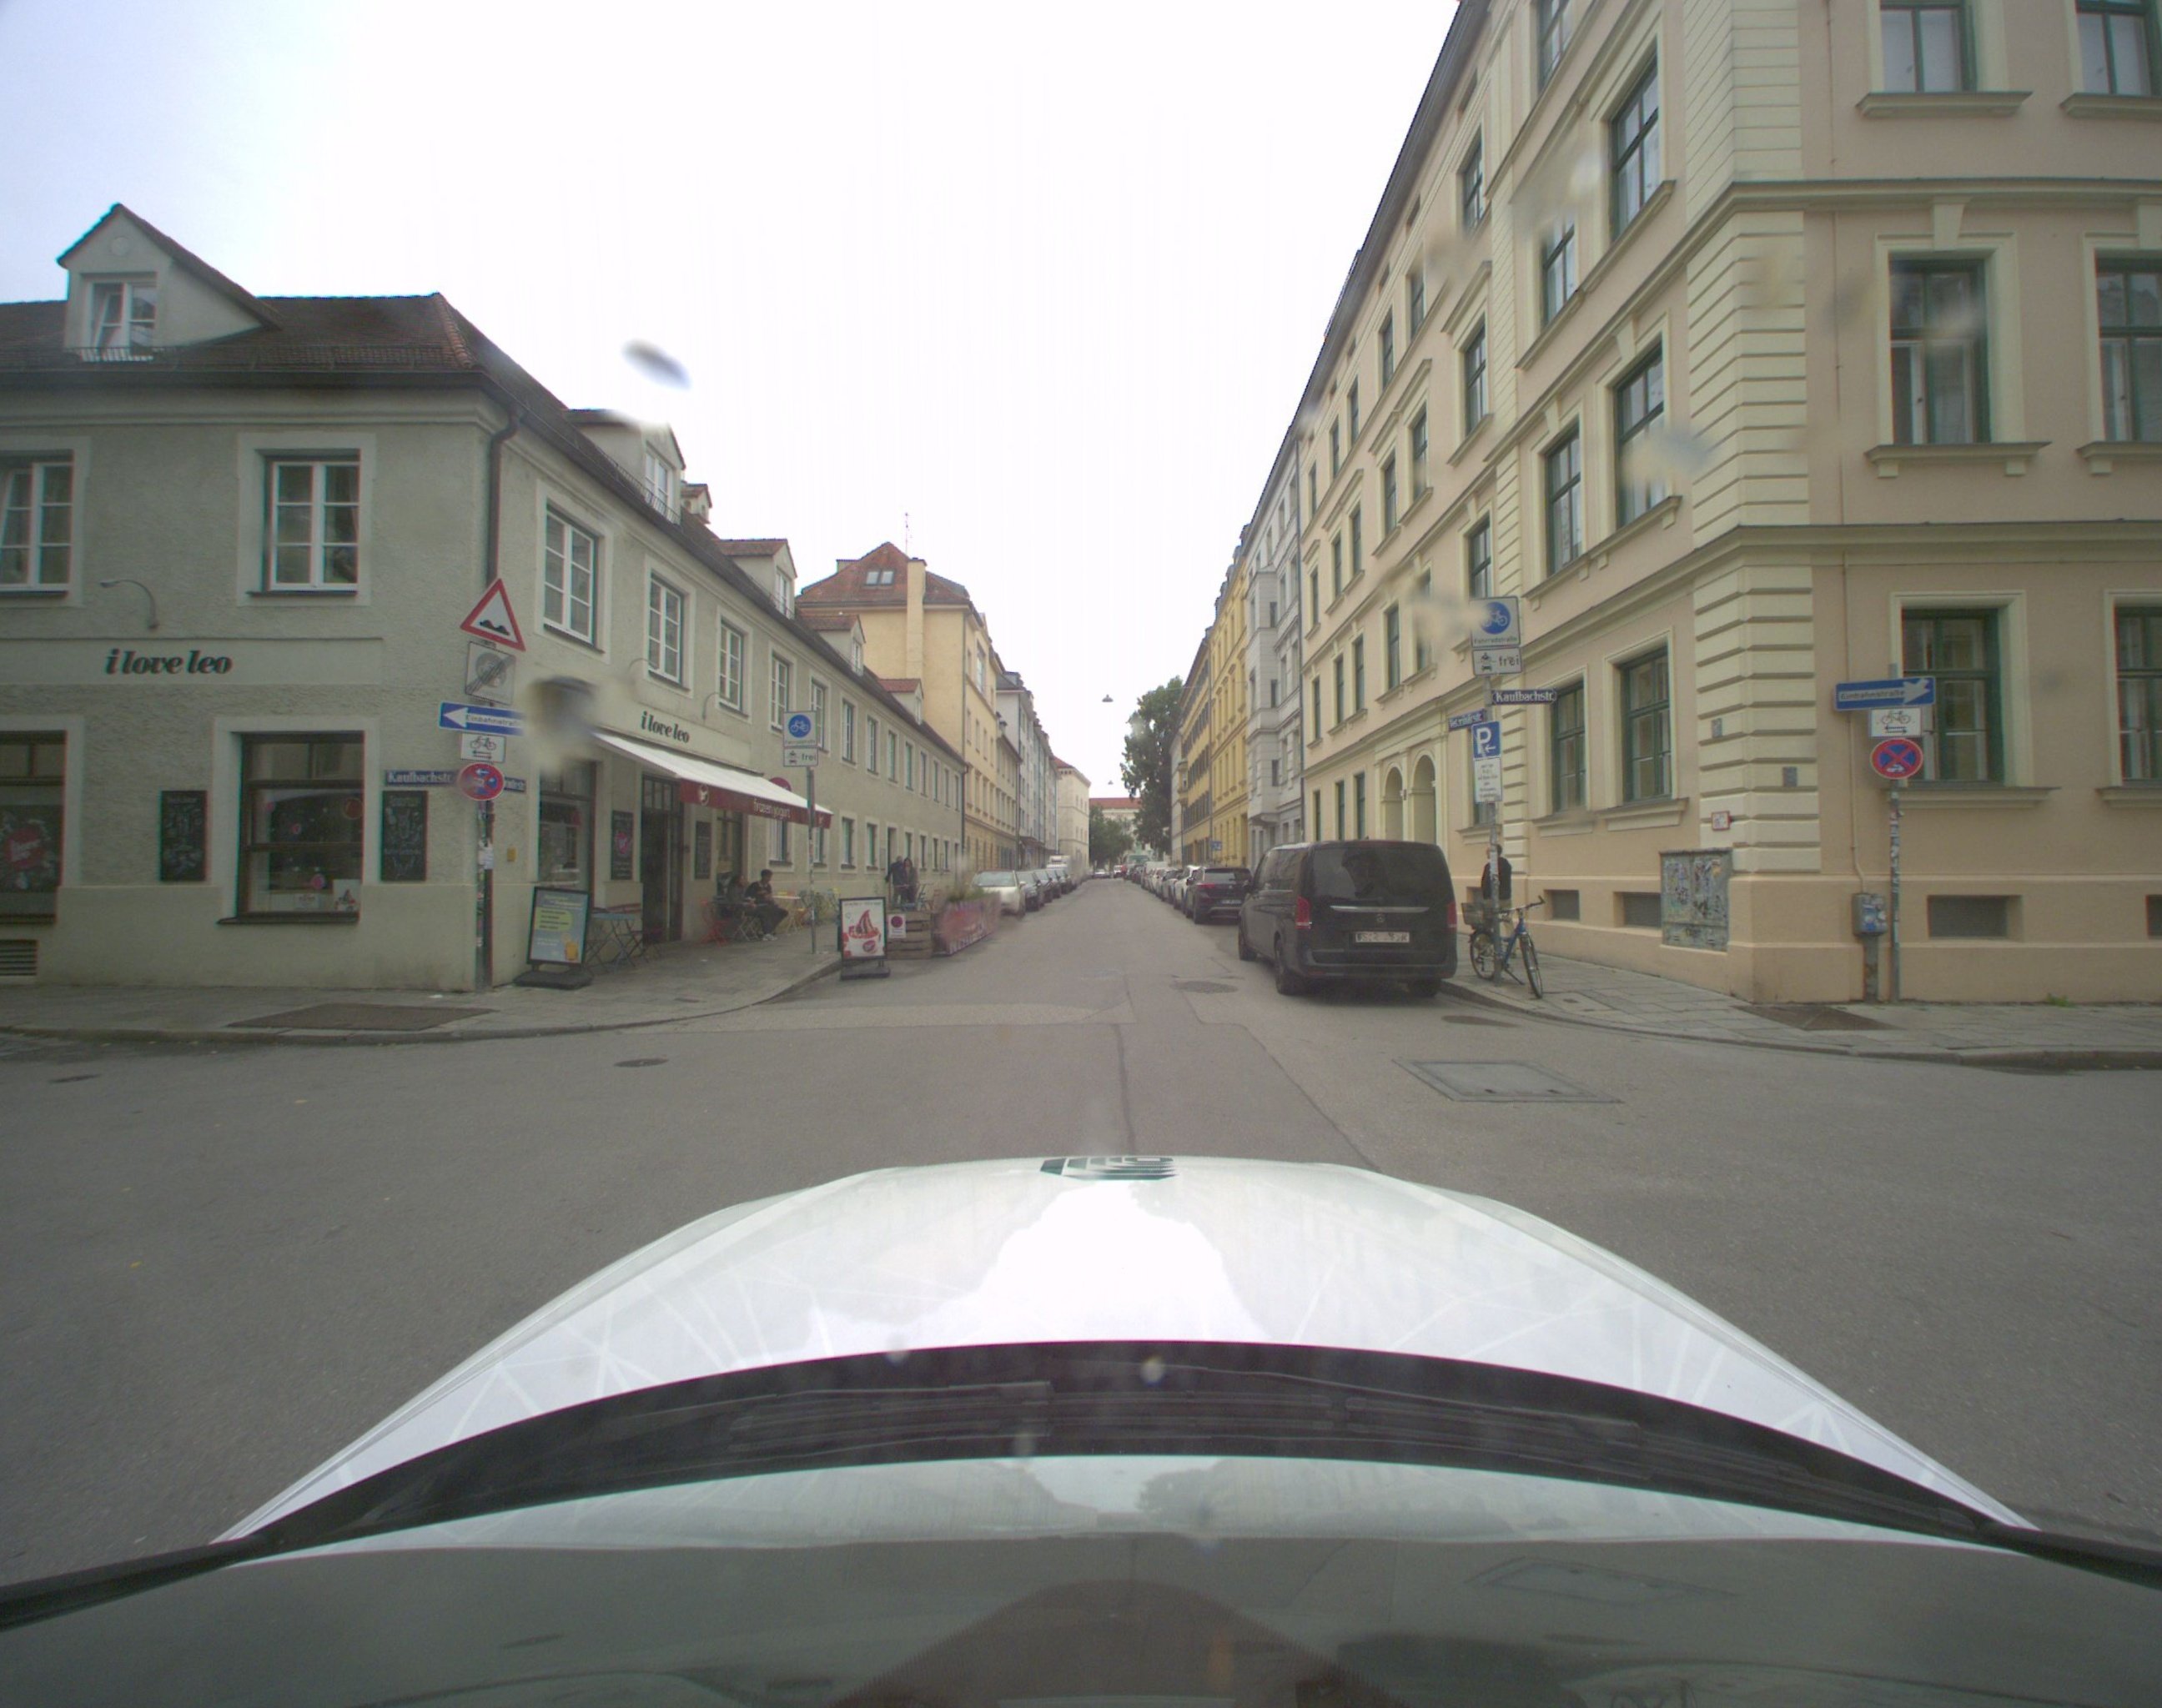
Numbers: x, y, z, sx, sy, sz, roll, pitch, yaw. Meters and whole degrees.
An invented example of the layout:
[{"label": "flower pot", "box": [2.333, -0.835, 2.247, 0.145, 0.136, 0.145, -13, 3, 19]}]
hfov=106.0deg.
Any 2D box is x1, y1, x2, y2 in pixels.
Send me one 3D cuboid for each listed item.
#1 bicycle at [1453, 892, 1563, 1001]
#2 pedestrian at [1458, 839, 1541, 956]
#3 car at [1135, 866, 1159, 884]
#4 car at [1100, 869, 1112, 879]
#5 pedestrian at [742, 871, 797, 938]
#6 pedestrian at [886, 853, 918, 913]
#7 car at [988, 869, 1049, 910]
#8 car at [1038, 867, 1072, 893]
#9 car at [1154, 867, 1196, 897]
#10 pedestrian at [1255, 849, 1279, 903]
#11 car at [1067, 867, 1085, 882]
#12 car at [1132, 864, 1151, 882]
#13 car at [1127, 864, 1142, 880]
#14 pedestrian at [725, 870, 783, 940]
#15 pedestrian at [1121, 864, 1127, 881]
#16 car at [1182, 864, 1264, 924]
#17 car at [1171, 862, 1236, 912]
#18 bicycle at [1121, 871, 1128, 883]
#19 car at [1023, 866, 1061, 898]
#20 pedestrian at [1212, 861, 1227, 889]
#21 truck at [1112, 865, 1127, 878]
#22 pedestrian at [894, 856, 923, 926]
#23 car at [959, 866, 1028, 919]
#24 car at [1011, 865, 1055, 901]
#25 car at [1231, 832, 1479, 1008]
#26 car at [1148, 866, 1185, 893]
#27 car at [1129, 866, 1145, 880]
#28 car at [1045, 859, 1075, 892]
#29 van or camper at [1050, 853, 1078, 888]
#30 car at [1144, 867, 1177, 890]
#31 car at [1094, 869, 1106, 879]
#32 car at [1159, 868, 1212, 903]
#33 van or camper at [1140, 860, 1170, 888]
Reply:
[{"label": "bicycle", "box": [5.061, 1.051, 9.768, 0.463, 1.052, 1.730, -2, 1, 3]}, {"label": "pedestrian", "box": [6.421, 0.659, 12.547, 0.716, 1.717, 1.004, 0, -2, 1]}, {"label": "car", "box": [5.731, 1.850, 71.123, 1.805, 1.465, 4.248, 1, -1, 2]}, {"label": "car", "box": [4.261, 3.452, 138.789, 1.698, 1.581, 3.867, -1, -1, 5]}, {"label": "pedestrian", "box": [-6.156, 0.994, 16.130, 0.800, 1.290, 0.694, 0, -2, 2]}, {"label": "pedestrian", "box": [-5.730, 0.936, 26.104, 0.820, 1.898, 0.827, 0, -3, 1]}, {"label": "car", "box": [-2.234, 1.264, 30.048, 1.792, 1.339, 4.686, 0, 0, 1]}, {"label": "car", "box": [-1.449, 1.448, 46.165, 1.748, 1.409, 4.103, 0, -1, 1]}, {"label": "car", "box": [4.587, 1.356, 40.167, 1.701, 1.409, 4.816, 0, -1, 2]}, {"label": "pedestrian", "box": [7.005, 0.829, 30.718, 0.667, 1.981, 0.709, -3, -3, 2]}, {"label": "car", "box": [-0.497, 2.151, 85.110, 1.811, 1.444, 3.819, -1, -1, 1]}, {"label": "car", "box": [6.168, 1.917, 83.406, 1.804, 1.798, 4.249, 1, -1, 3]}, {"label": "car", "box": [6.759, 2.306, 103.189, 1.844, 1.920, 4.772, 0, -1, 3]}, {"label": "pedestrian", "box": [-6.173, 0.958, 15.407, 0.800, 1.290, 0.694, 0, -2, 2]}, {"label": "pedestrian", "box": [4.203, 1.799, 79.481, 0.639, 1.714, 0.843, 0, -3, 3]}, {"label": "car", "box": [3.883, 1.063, 22.939, 1.748, 1.521, 4.276, 0, -1, 2]}, {"label": "car", "box": [4.143, 1.104, 28.121, 1.736, 1.584, 4.468, 0, -1, 2]}, {"label": "bicycle", "box": [4.210, 2.234, 79.484, 0.673, 1.095, 1.761, 0, -2, 3]}, {"label": "car", "box": [-1.931, 1.366, 41.014, 1.811, 1.441, 4.128, -1, -1, -2]}, {"label": "pedestrian", "box": [7.873, 1.203, 46.337, 0.658, 1.572, 0.642, -3, -3, 1]}, {"label": "truck", "box": [6.503, 2.982, 137.341, 2.110, 2.248, 6.195, -1, -2, 6]}, {"label": "pedestrian", "box": [-4.499, 0.954, 21.262, 0.526, 1.782, 0.878, 0, -3, 2]}, {"label": "car", "box": [-2.585, 1.132, 24.900, 1.749, 1.475, 3.712, 1, -1, -1]}, {"label": "car", "box": [-2.063, 1.262, 36.113, 1.749, 1.496, 4.198, 0, -1, -1]}, {"label": "car", "box": [3.431, 0.742, 11.387, 1.989, 1.864, 5.257, 0, -1, 3]}, {"label": "car", "box": [4.865, 1.437, 46.758, 1.702, 1.454, 4.095, 0, -1, 0]}, {"label": "car", "box": [6.653, 2.306, 97.310, 1.804, 1.614, 4.158, 0, -1, 3]}, {"label": "car", "box": [-1.337, 1.330, 51.095, 1.750, 1.995, 4.621, 0, -1, -2]}, {"label": "van or camper", "box": [-1.142, 1.125, 56.391, 1.748, 2.281, 5.273, 0, -1, 1]}, {"label": "car", "box": [4.983, 1.539, 51.729, 1.702, 1.392, 4.205, 0, -1, 0]}, {"label": "car", "box": [3.189, 3.221, 132.682, 1.698, 1.581, 3.867, -1, -1, 5]}, {"label": "car", "box": [4.350, 1.284, 34.366, 1.703, 1.405, 4.206, 0, -1, 0]}, {"label": "van or camper", "box": [5.121, 1.375, 56.618, 1.826, 1.872, 5.081, 0, -1, 2]}]
